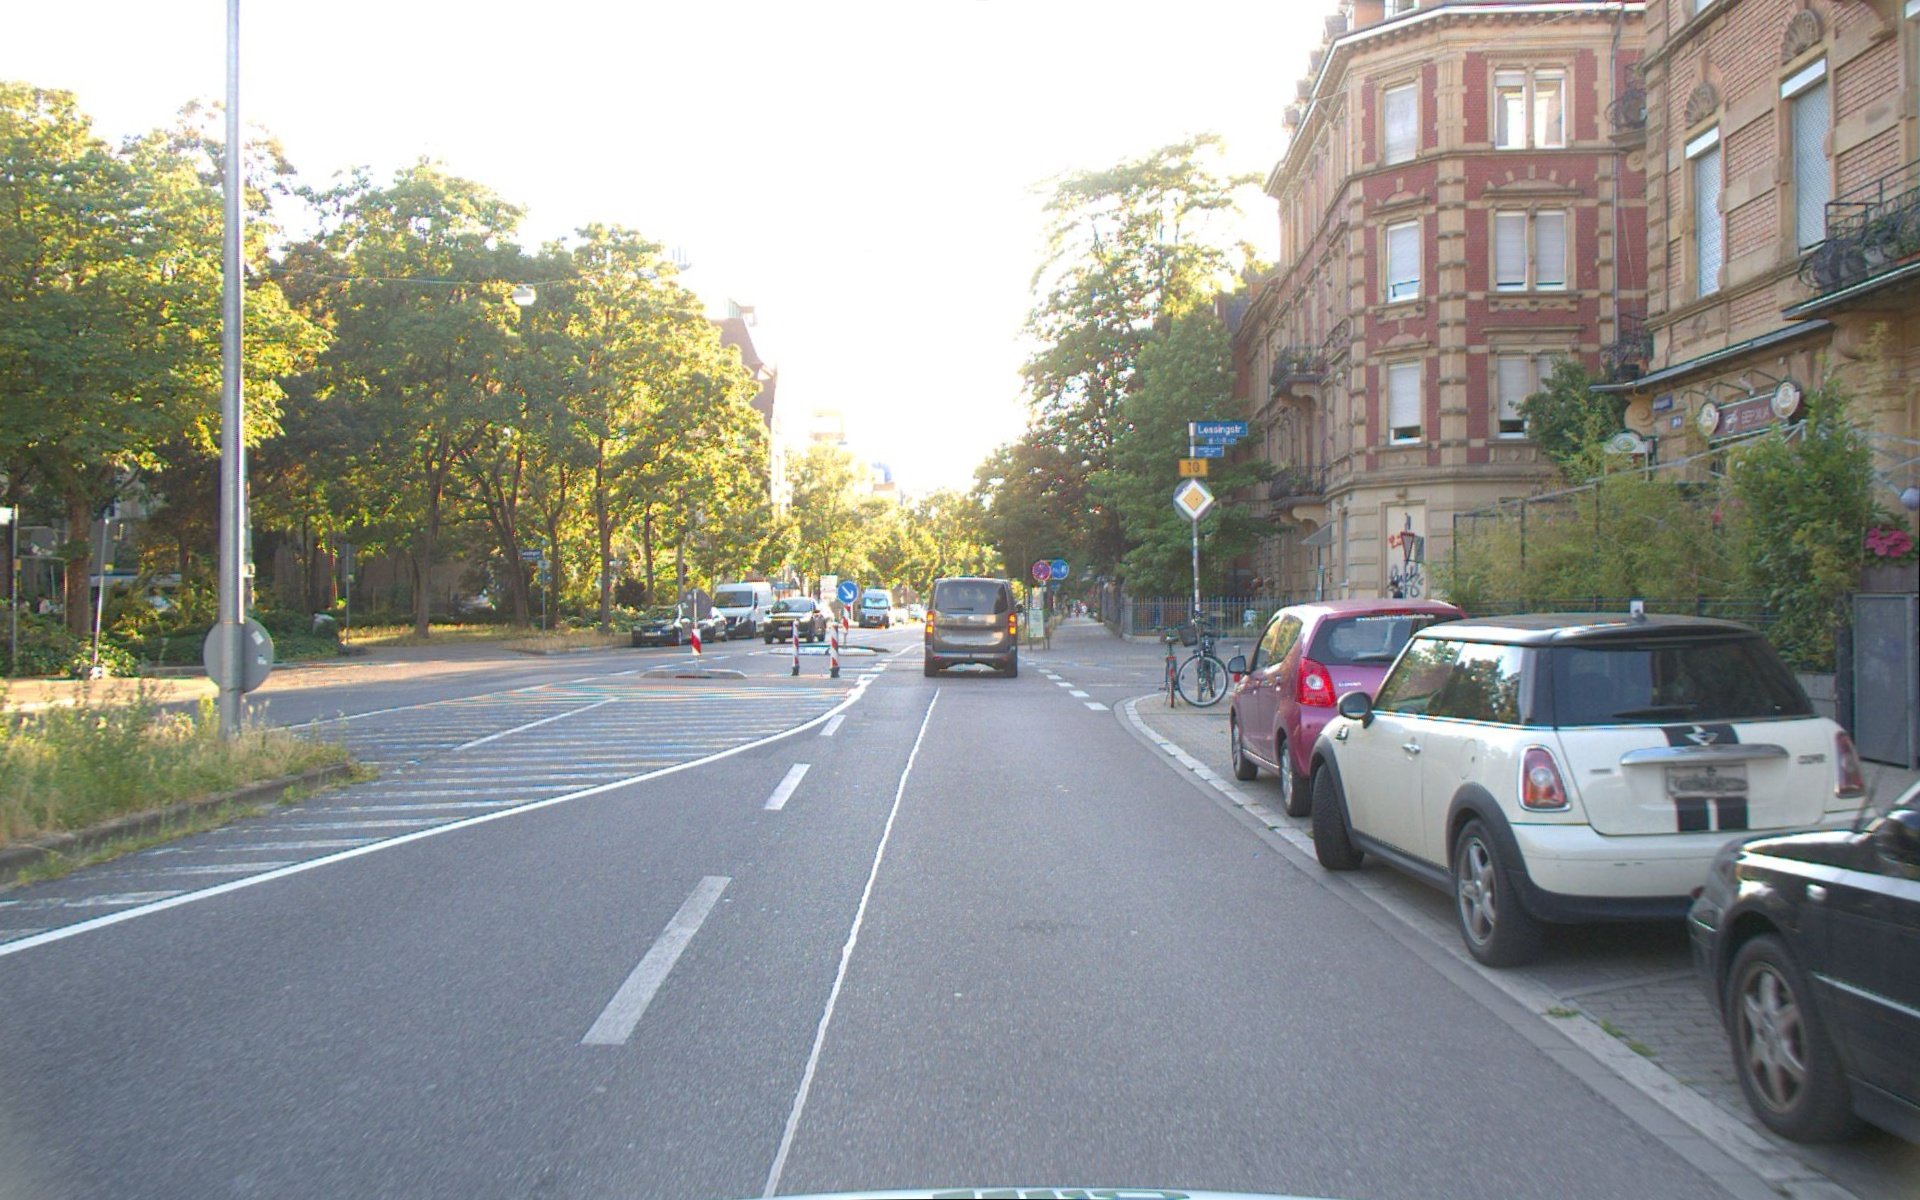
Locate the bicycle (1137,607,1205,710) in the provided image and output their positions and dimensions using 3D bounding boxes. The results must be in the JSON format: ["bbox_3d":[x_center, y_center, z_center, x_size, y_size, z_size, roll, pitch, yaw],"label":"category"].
[{"bbox_3d":[2.930,0.810,23.158,0.554,1.322,2.264,-4,-1,-1],"label":"bicycle"}]

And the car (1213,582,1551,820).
[{"bbox_3d":[3.108,0.678,12.903,1.691,1.490,3.547,-4,0,1],"label":"car"}]

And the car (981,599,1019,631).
[{"bbox_3d":[2.160,0.764,87.818,1.952,1.662,4.001,0,0,2],"label":"car"}]

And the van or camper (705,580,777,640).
[{"bbox_3d":[-9.793,0.421,74.406,2.047,2.511,6.308,-1,0,3],"label":"van or camper"}]

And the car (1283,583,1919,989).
[{"bbox_3d":[2.890,0.717,8.222,1.643,1.451,3.675,-4,0,-2],"label":"car"}]

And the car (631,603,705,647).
[{"bbox_3d":[-10.651,0.891,60.574,1.589,1.533,4.546,-1,0,4],"label":"car"}]

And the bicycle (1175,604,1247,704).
[{"bbox_3d":[3.495,0.751,23.175,0.554,1.297,2.264,-4,-1,-1],"label":"bicycle"}]

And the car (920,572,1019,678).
[{"bbox_3d":[0.186,0.469,33.198,1.849,1.958,3.839,-1,0,0],"label":"car"}]

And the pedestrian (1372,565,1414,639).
[{"bbox_3d":[10.925,0.050,41.731,0.730,1.809,0.831,-3,0,0],"label":"pedestrian"}]

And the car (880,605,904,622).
[{"bbox_3d":[-5.306,1.017,128.970,1.504,1.270,3.615,1,0,3],"label":"car"}]

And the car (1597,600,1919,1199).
[{"bbox_3d":[3.252,0.739,3.710,1.849,1.451,4.341,-4,0,-1],"label":"car"}]

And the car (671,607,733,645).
[{"bbox_3d":[-10.389,1.027,66.794,1.594,1.454,4.244,-1,0,3],"label":"car"}]

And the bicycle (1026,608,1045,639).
[{"bbox_3d":[2.959,0.920,65.050,0.633,1.187,1.931,1,0,0],"label":"bicycle"}]

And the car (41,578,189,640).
[{"bbox_3d":[-35.919,0.356,70.425,2.229,2.529,5.212,-1,0,37],"label":"car"}]

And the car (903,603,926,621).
[{"bbox_3d":[-3.954,1.020,143.544,1.661,1.477,4.001,1,0,3],"label":"car"}]

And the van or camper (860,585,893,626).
[{"bbox_3d":[-5.734,0.350,114.680,1.953,2.715,6.038,1,0,0],"label":"van or camper"}]

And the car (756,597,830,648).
[{"bbox_3d":[-6.225,0.831,62.228,1.837,1.735,4.570,-3,0,5],"label":"car"}]
